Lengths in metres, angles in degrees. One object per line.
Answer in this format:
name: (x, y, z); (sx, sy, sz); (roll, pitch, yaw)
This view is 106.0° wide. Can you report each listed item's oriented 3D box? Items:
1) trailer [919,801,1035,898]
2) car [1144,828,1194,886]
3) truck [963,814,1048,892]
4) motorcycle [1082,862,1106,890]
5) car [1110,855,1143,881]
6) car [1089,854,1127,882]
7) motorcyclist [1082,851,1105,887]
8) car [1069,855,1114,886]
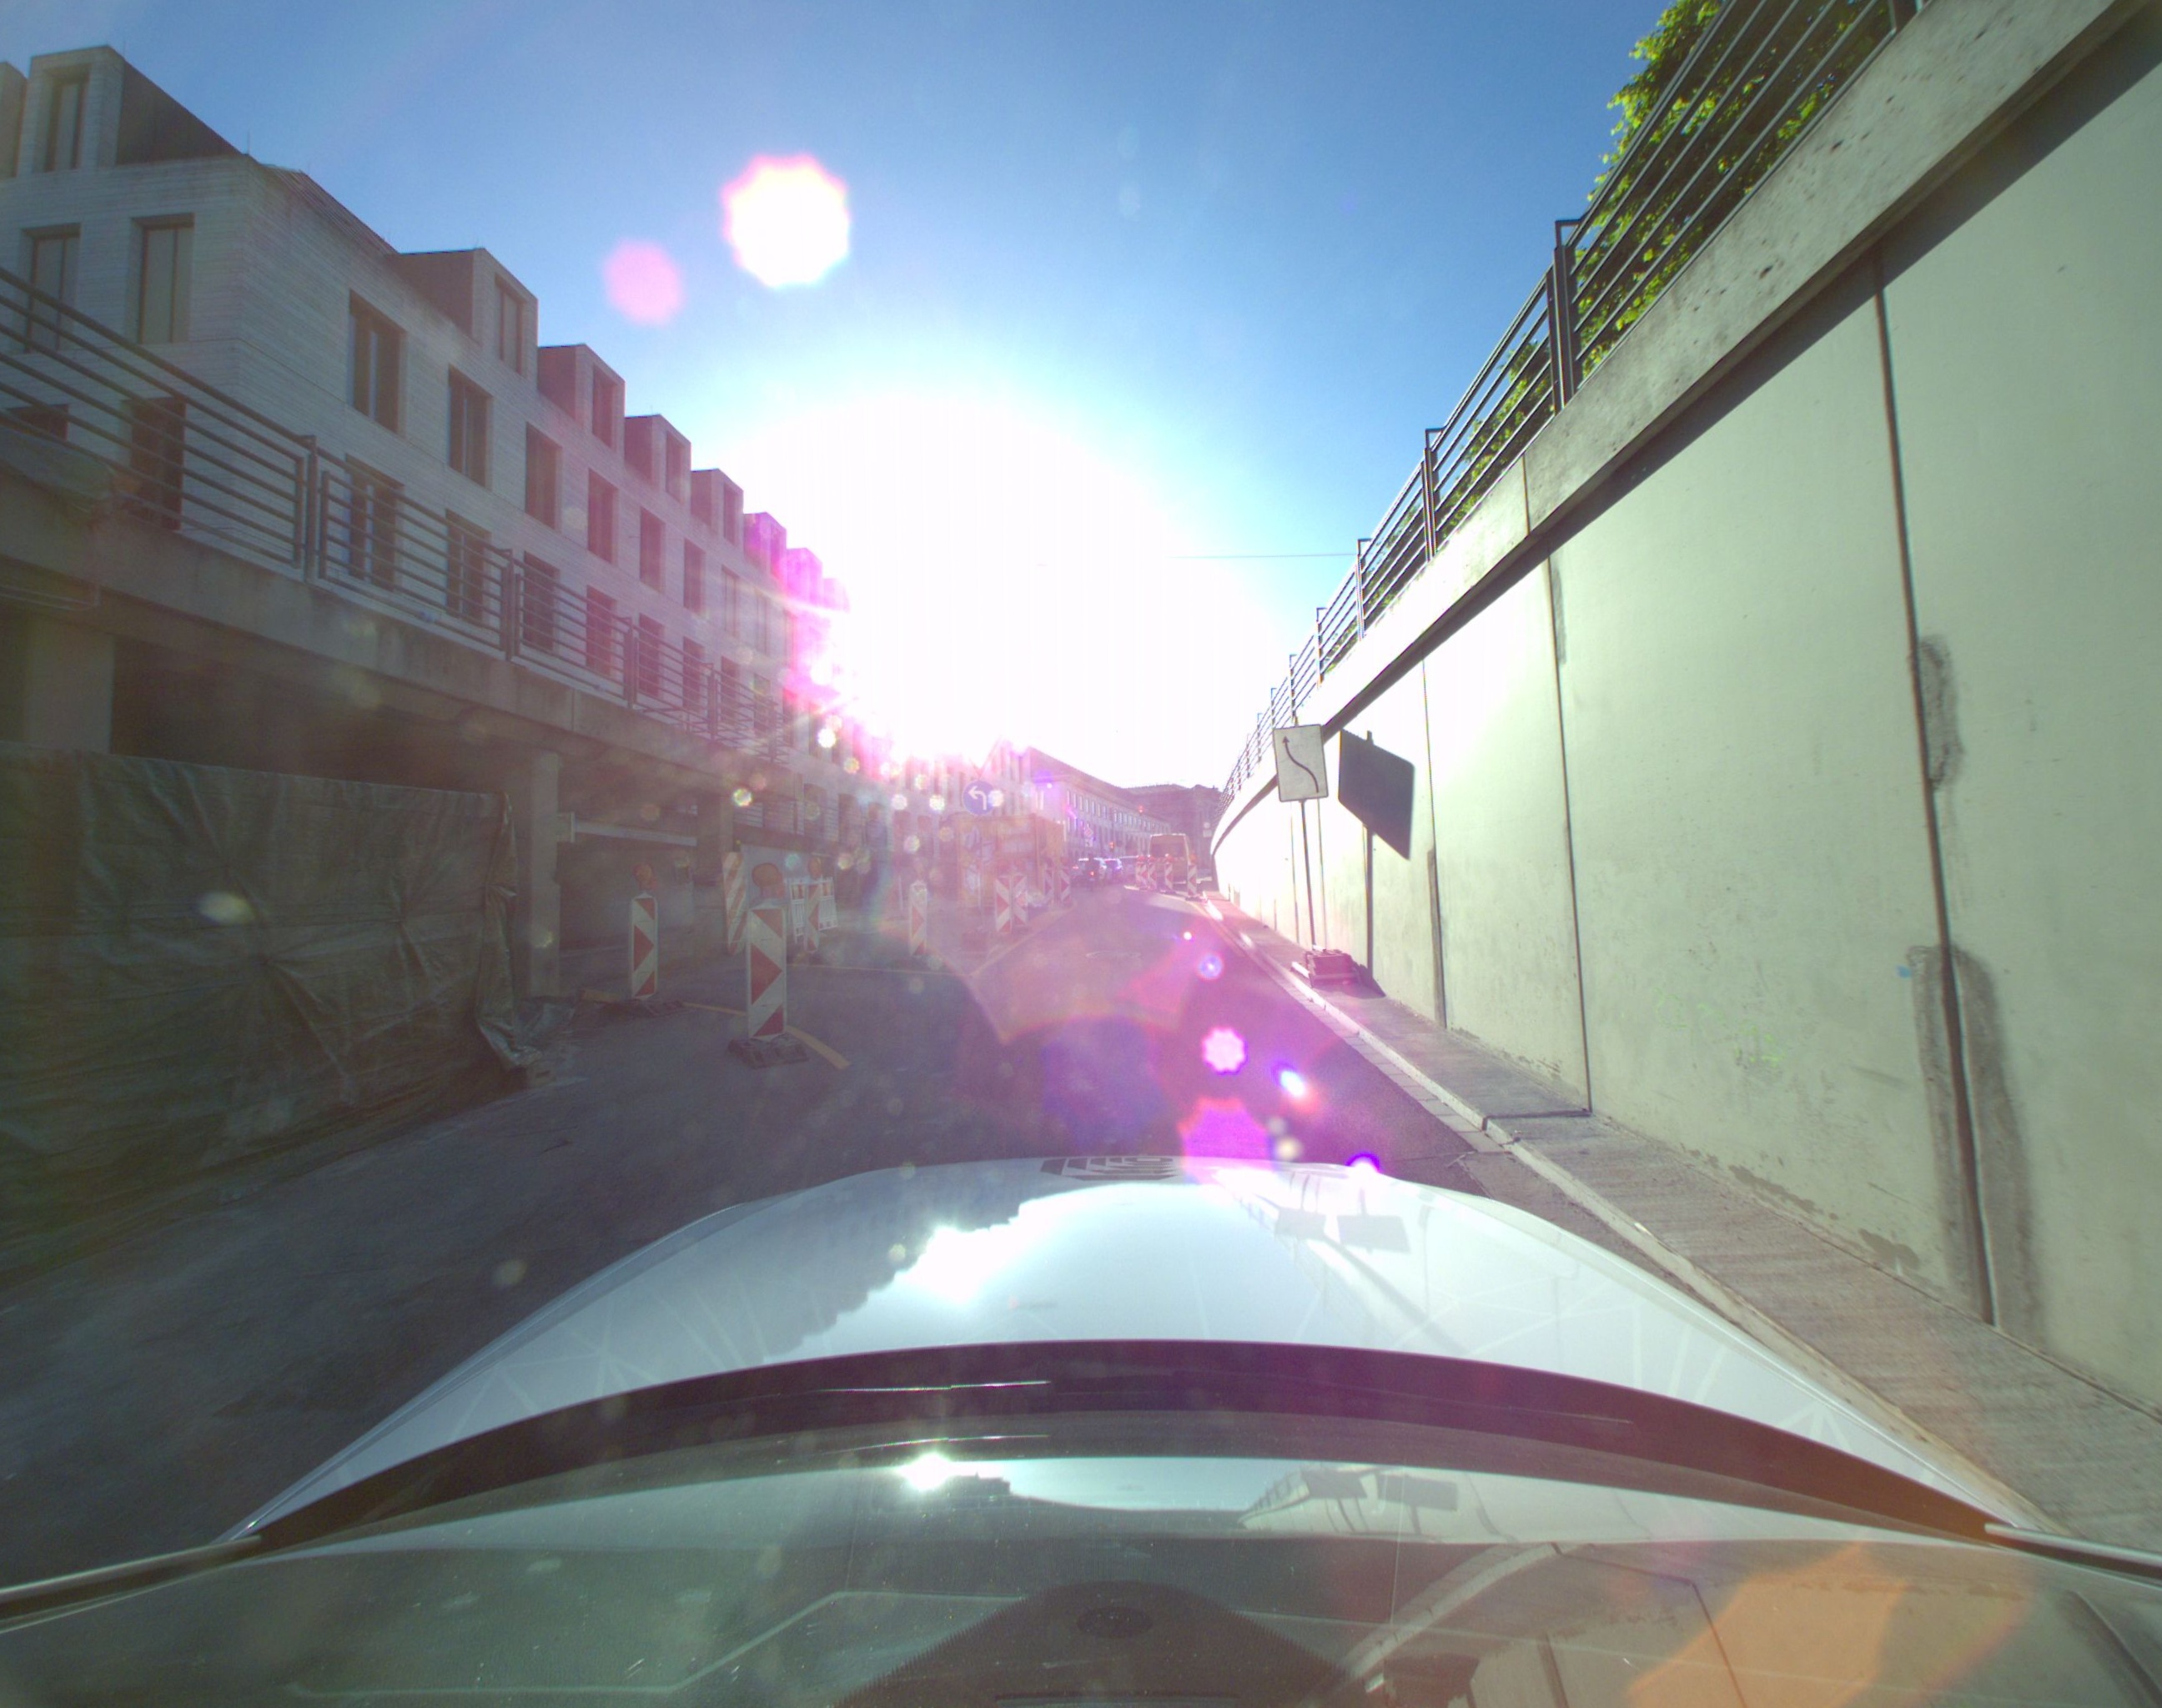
trailer: (-4.504, -0.135, 37.481); (2.627, 3.669, 8.769); (-6, -1, 9)
car: (4.591, 0.178, 41.372); (2.099, 2.625, 7.004); (-2, -1, 9)
truck: (-3.736, -0.045, 41.796); (2.564, 3.489, 5.831); (-6, -1, 10)
motorcycle: (0.556, 0.964, 36.562); (0.903, 1.183, 2.576); (-1, 0, -2)
car: (3.323, 0.972, 58.815); (1.792, 1.721, 4.174); (-2, 0, 10)
car: (1.682, 0.882, 49.716); (1.764, 1.550, 4.115); (-2, -3, 9)
motorcyclist: (0.570, 0.660, 36.597); (0.951, 1.559, 1.238); (-1, 0, -2)
car: (0.612, 0.844, 43.413); (1.848, 1.472, 4.010); (-1, 0, 9)
